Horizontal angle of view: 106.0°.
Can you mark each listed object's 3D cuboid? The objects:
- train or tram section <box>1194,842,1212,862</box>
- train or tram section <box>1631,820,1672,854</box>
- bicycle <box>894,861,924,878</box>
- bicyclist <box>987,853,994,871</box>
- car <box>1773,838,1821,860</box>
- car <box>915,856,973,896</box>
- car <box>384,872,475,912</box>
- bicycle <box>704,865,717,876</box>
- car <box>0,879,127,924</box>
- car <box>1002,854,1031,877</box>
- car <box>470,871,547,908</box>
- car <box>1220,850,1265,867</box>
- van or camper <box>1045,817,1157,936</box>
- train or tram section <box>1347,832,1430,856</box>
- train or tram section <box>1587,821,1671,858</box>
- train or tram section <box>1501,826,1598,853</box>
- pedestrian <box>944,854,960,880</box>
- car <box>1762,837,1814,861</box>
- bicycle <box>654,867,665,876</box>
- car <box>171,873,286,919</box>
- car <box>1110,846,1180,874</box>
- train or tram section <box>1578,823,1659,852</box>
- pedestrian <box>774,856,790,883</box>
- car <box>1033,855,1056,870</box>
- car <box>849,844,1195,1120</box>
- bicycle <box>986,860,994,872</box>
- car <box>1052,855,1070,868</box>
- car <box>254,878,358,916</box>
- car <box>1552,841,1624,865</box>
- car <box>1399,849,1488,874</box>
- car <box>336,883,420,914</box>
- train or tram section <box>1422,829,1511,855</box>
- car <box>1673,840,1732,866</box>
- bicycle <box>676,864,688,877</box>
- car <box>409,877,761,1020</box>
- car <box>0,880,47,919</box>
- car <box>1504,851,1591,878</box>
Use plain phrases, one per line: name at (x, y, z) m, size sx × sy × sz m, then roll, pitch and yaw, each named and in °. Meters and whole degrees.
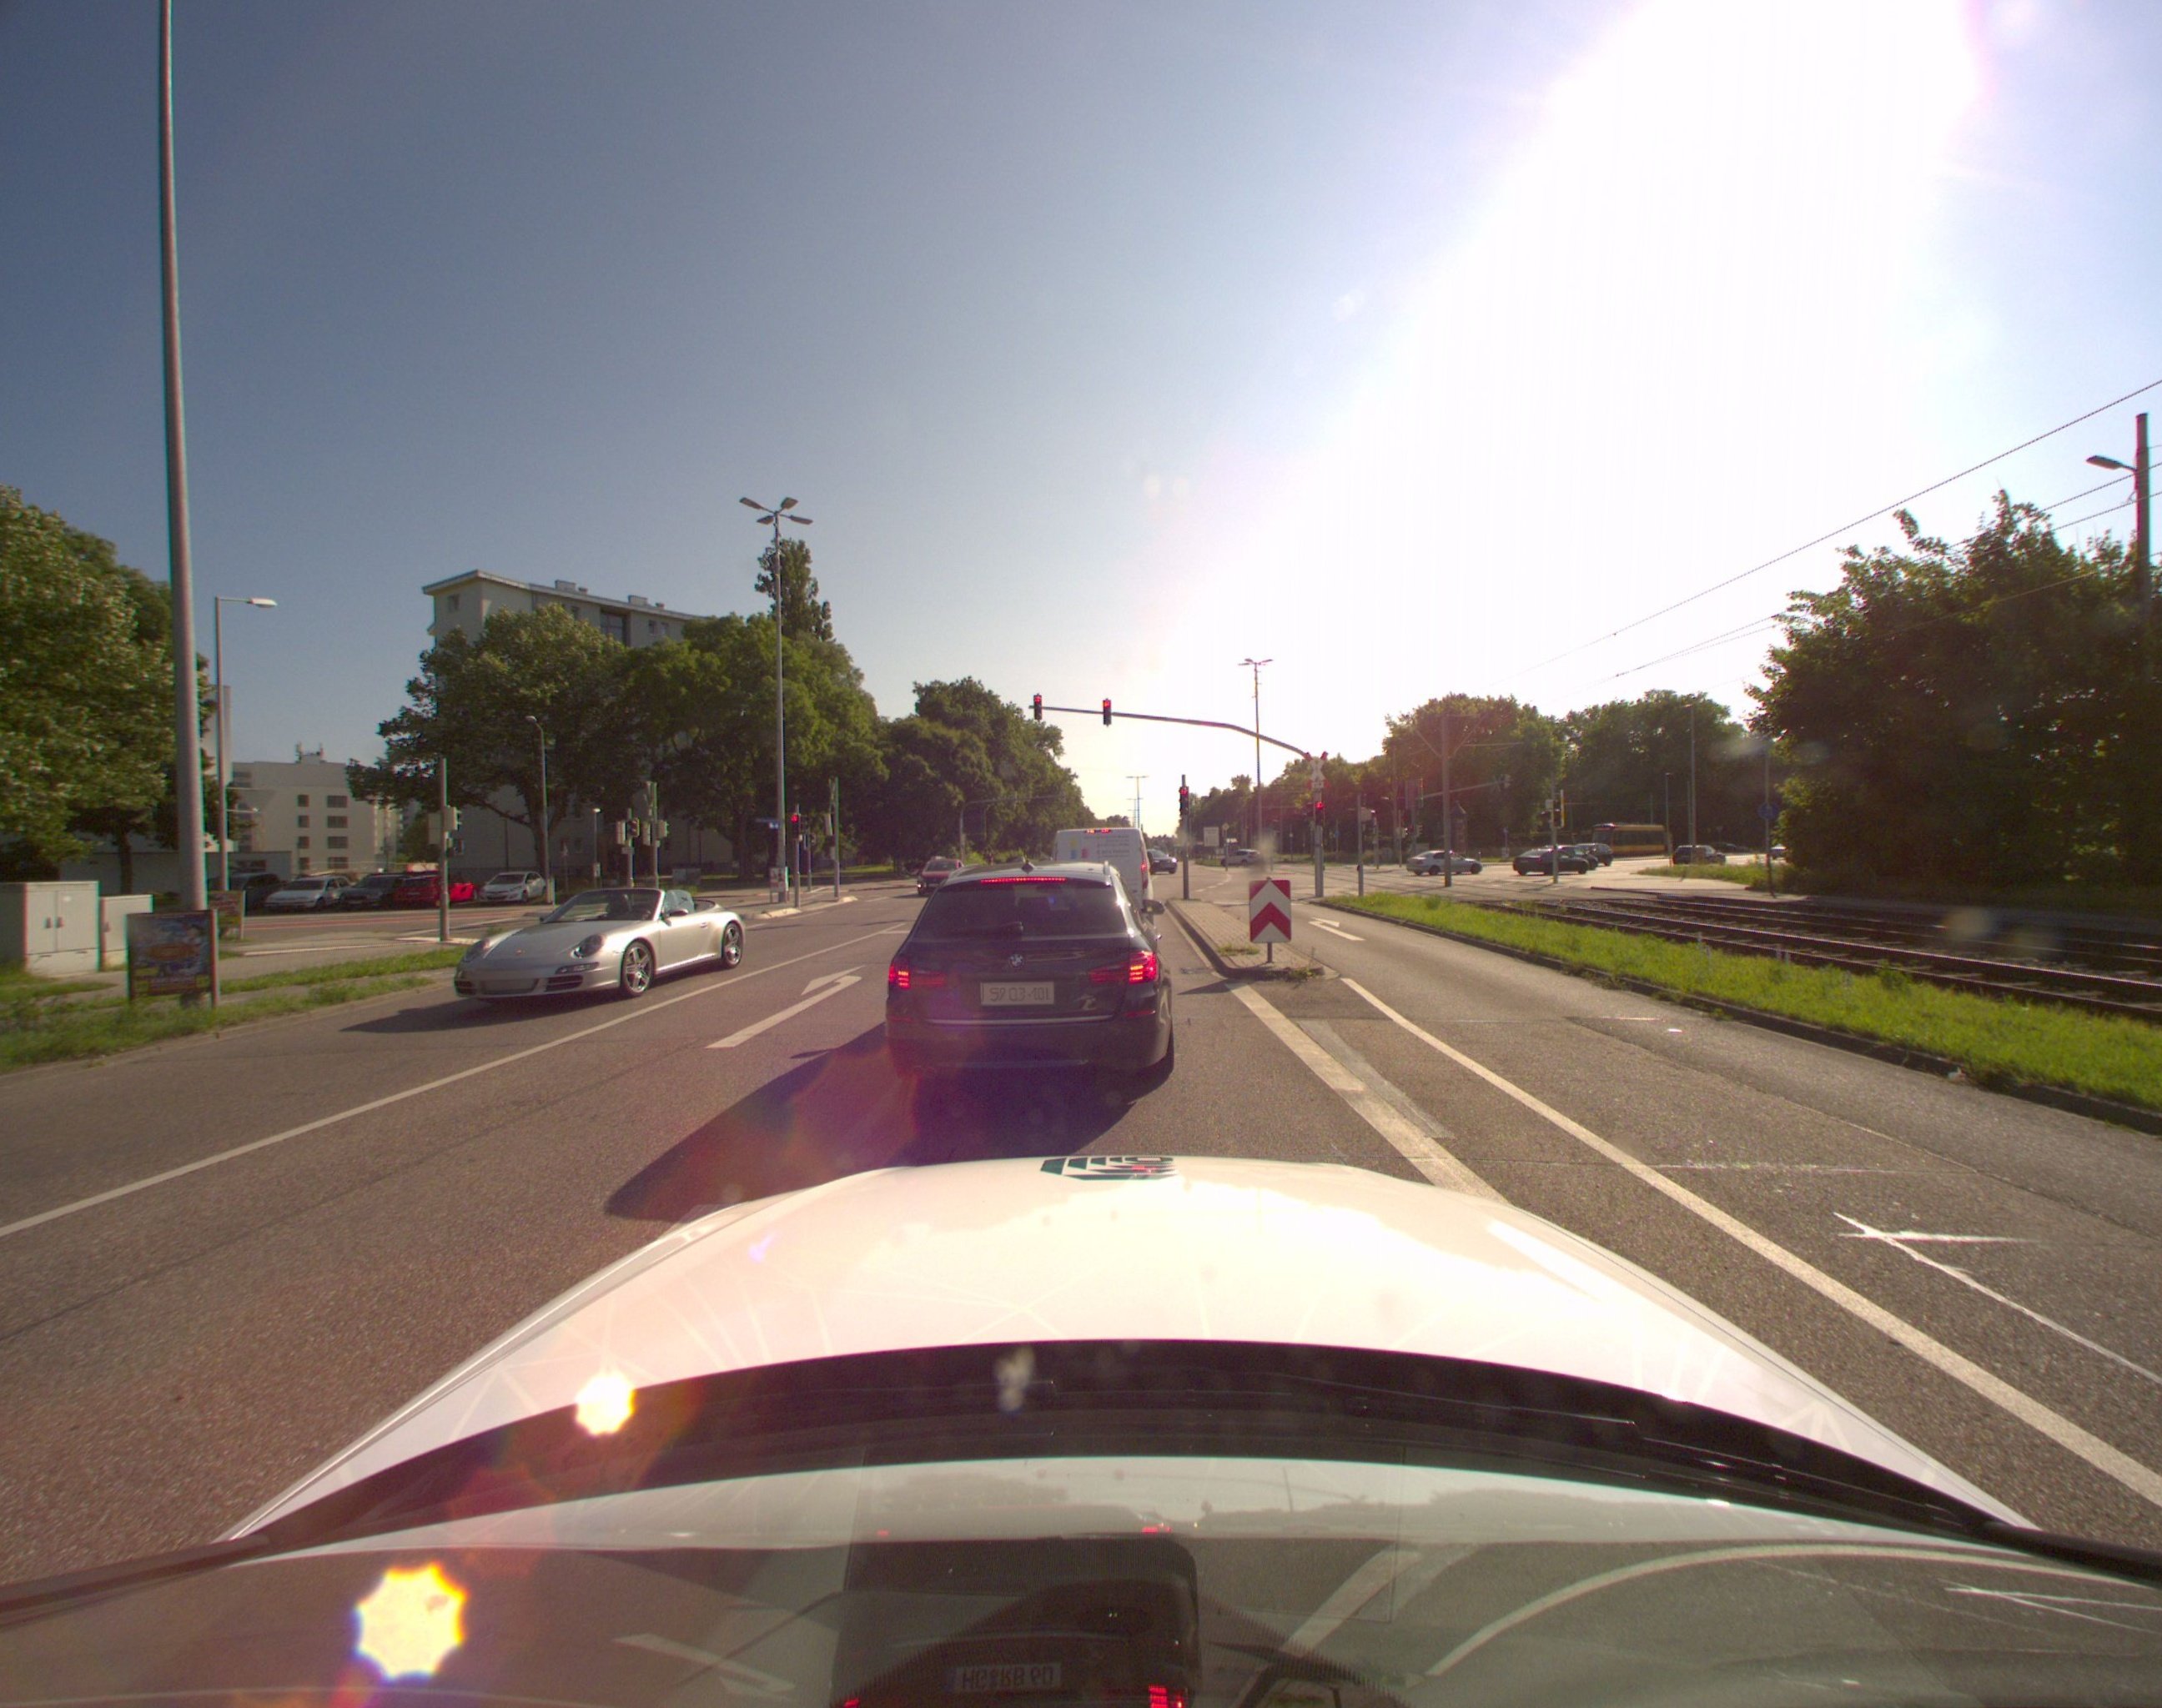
train or tram section at (23.058, -0.275, 154.167) m, size 2.782 × 3.618 × 12.976 m, roll 0°, pitch 0°, yaw 6°
train or tram section at (66.101, -1.905, 94.578) m, size 3.015 × 3.579 × 12.308 m, roll -1°, pitch 0°, yaw 31°
bicycle at (-11.638, 1.051, 55.085) m, size 1.902 × 1.119 × 0.632 m, roll -1°, pitch 0°, yaw 1°
bicyclist at (-8.071, 0.711, 72.459) m, size 0.606 × 1.560 × 0.602 m, roll -1°, pitch 0°, yaw -4°
car at (58.526, -0.423, 66.562) m, size 4.654 × 1.665 × 1.978 m, roll -1°, pitch 0°, yaw -37°
car at (-5.654, 0.890, 33.964) m, size 1.688 × 1.498 × 3.677 m, roll -2°, pitch 0°, yaw 1°
car at (-30.850, 1.744, 38.705) m, size 1.782 × 1.415 × 3.982 m, roll -1°, pitch 4°, yaw -14°
bicycle at (-31.031, 1.363, 68.232) m, size 0.673 × 0.919 × 2.382 m, roll -1°, pitch 0°, yaw -33°
car at (-44.368, 2.007, 35.222) m, size 1.785 × 1.477 × 4.785 m, roll -1°, pitch 3°, yaw -19°
car at (-4.836, 0.863, 61.210) m, size 1.626 × 1.560 × 3.679 m, roll -3°, pitch 0°, yaw 3°
car at (-27.904, 1.686, 39.868) m, size 1.783 × 1.439 × 3.980 m, roll -1°, pitch 3°, yaw -15°
car at (14.781, 0.381, 74.820) m, size 1.806 × 1.486 × 3.857 m, roll -1°, pitch 0°, yaw -35°
van or camper at (0.495, 0.402, 16.950) m, size 1.985 × 2.096 × 4.602 m, roll -1°, pitch 0°, yaw 3°
train or tram section at (50.389, -1.657, 133.846) m, size 12.279 × 3.579 × 3.073 m, roll -1°, pitch 0°, yaw 33°
train or tram section at (57.854, -1.556, 85.889) m, size 11.898 × 3.579 × 3.022 m, roll -1°, pitch 0°, yaw -34°
train or tram section at (67.334, -1.966, 117.564) m, size 3.064 × 3.579 × 12.108 m, roll -1°, pitch 0°, yaw -31°
pedestrian at (-8.713, 0.865, 54.854) m, size 0.811 × 1.752 × 0.933 m, roll -1°, pitch 0°, yaw 7°
car at (53.484, -0.389, 61.575) m, size 4.654 × 1.665 × 1.978 m, roll -1°, pitch 0°, yaw -37°
bicycle at (-34.311, 1.431, 66.238) m, size 0.587 × 0.708 × 2.215 m, roll -1°, pitch 0°, yaw -33°
car at (-38.062, 1.823, 36.522) m, size 1.783 × 1.811 × 3.977 m, roll -1°, pitch 0°, yaw -16°
car at (4.202, 0.410, 53.957) m, size 4.564 × 1.722 × 1.659 m, roll -2°, pitch -1°, yaw 44°
train or tram section at (69.658, -2.054, 106.057) m, size 3.031 × 3.579 × 12.240 m, roll -1°, pitch 0°, yaw 3°
pedestrian at (-19.107, 0.997, 52.092) m, size 0.619 × 1.713 × 0.707 m, roll -1°, pitch 1°, yaw 14°
car at (-3.686, 0.878, 82.909) m, size 1.771 × 1.414 × 4.249 m, roll -1°, pitch 0°, yaw 4°
car at (-0.262, 0.713, 6.569) m, size 1.896 × 1.506 × 4.067 m, roll -1°, pitch 0°, yaw 2°
bicycle at (-8.055, 1.093, 72.404) m, size 0.618 × 1.040 × 2.069 m, roll -1°, pitch 0°, yaw -4°
car at (-2.462, 0.923, 103.299) m, size 1.694 × 1.465 × 4.376 m, roll -3°, pitch 0°, yaw 5°
car at (-35.416, 1.929, 37.356) m, size 1.783 × 1.521 × 3.977 m, roll -1°, pitch 0°, yaw -16°
car at (35.953, -0.066, 57.751) m, size 4.871 × 1.562 × 2.027 m, roll -1°, pitch 0°, yaw -26°
car at (21.202, 0.419, 47.683) m, size 4.398 × 1.354 × 1.992 m, roll -1°, pitch 0°, yaw -12°
car at (-32.776, 2.049, 38.089) m, size 1.463 × 1.193 × 3.767 m, roll -1°, pitch 0°, yaw -15°
train or tram section at (59.999, -1.830, 126.952) m, size 12.072 × 3.579 × 3.073 m, roll -1°, pitch 0°, yaw 38°
car at (42.148, -0.060, 55.178) m, size 4.654 × 1.665 × 1.978 m, roll -1°, pitch 0°, yaw -37°
bicycle at (-32.866, 1.383, 67.130) m, size 0.615 × 1.066 × 1.896 m, roll 0°, pitch -2°, yaw -34°
car at (-5.981, 1.041, 10.569) m, size 1.772 × 1.310 × 4.289 m, roll -1°, pitch 0°, yaw 2°
car at (-46.081, 2.013, 33.669) m, size 1.785 × 1.476 × 4.686 m, roll -1°, pitch 3°, yaw -19°
car at (25.747, 0.550, 44.919) m, size 4.415 × 1.354 × 1.984 m, roll -1°, pitch 0°, yaw -25°
